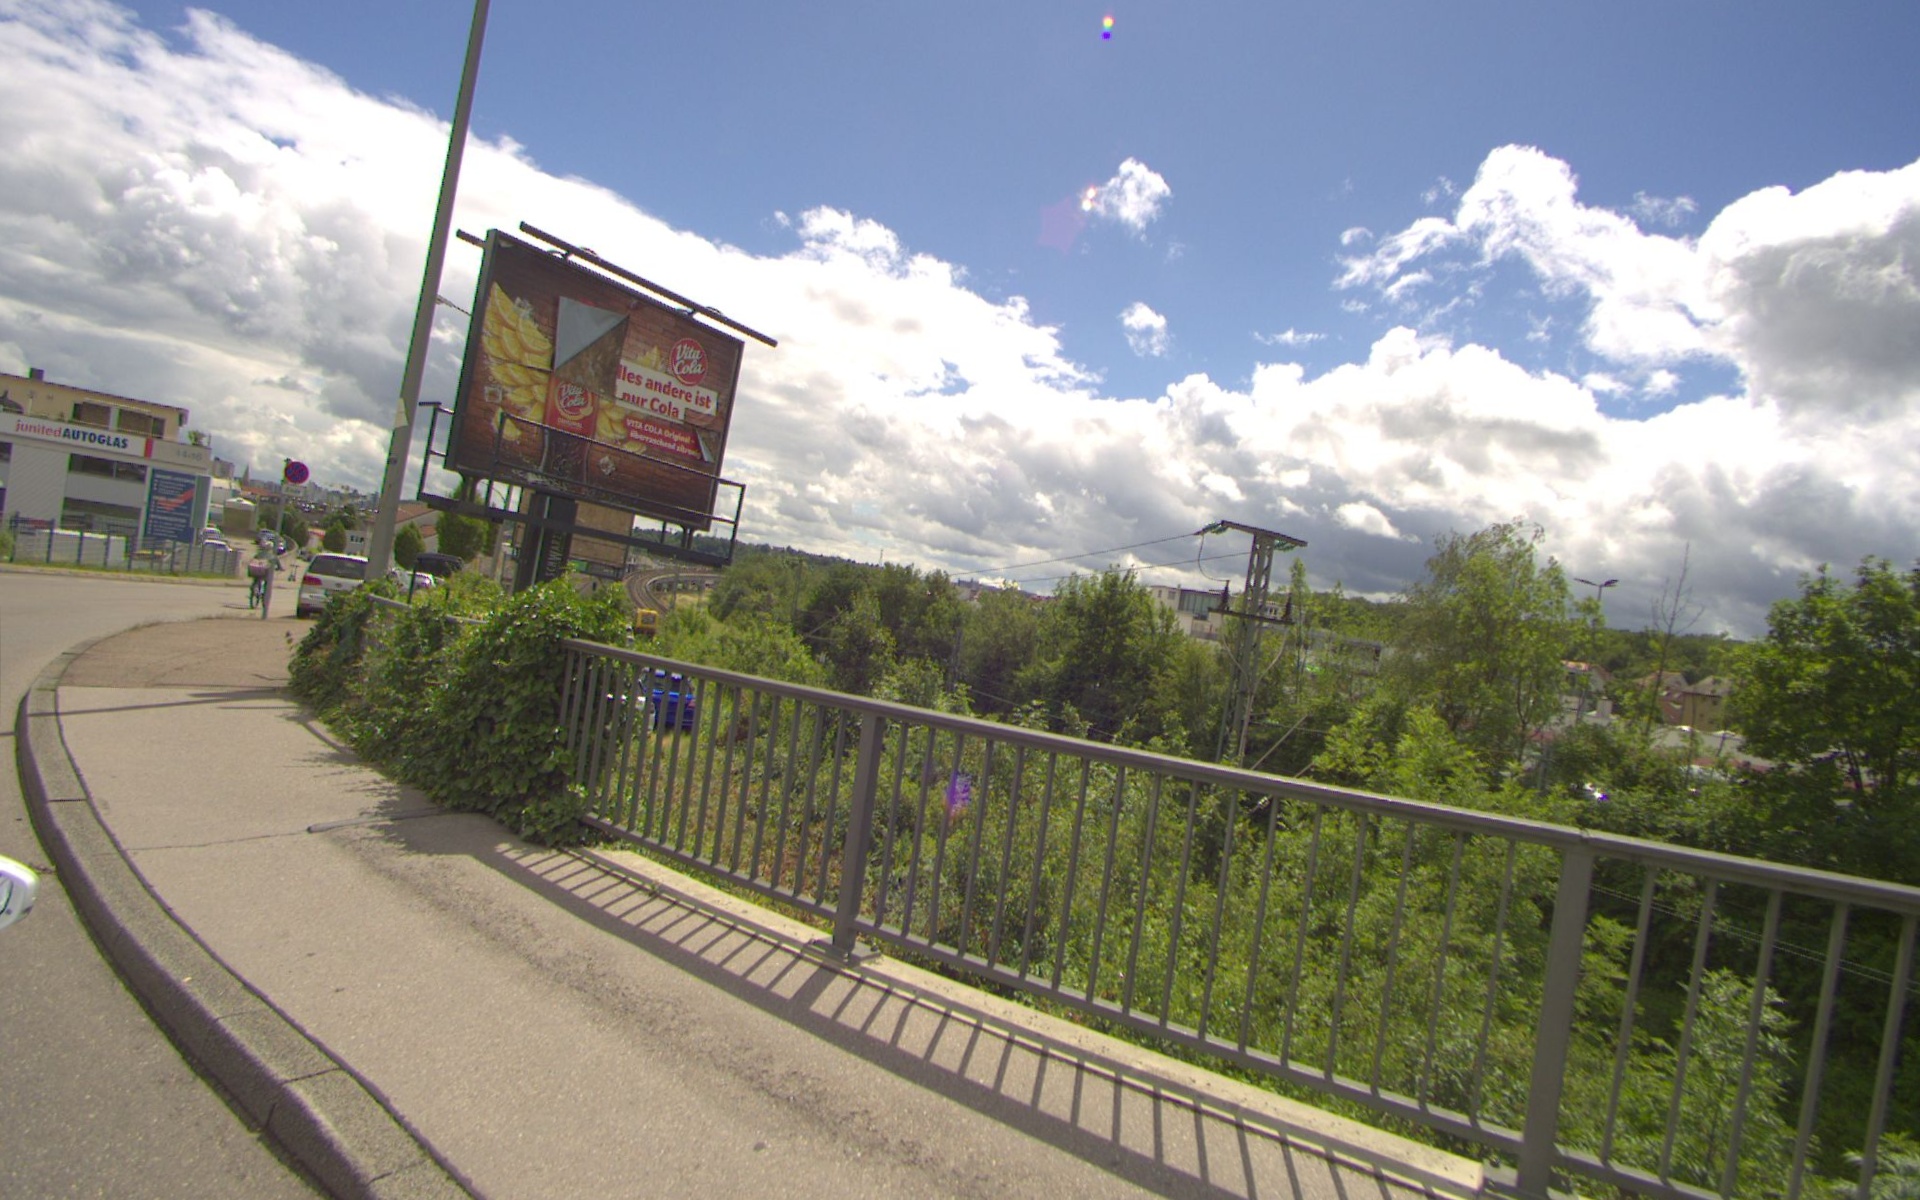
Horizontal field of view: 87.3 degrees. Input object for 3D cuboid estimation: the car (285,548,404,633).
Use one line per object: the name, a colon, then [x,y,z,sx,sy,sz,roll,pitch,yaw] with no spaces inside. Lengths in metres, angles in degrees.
car: [-15.200,-0.229,25.089,1.689,1.696,4.287,9,-3,-23]

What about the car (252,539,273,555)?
car: [-73.855,-5.600,106.455,1.661,1.339,3.683,7,-2,-36]

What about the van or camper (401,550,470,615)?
van or camper: [-24.443,-0.762,47.100,2.104,2.614,5.890,7,-3,-23]

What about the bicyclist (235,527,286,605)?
bicyclist: [-17.415,-0.828,25.085,0.677,1.847,1.075,6,-1,-22]

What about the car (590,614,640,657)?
car: [-15.758,1.583,45.784,1.689,1.527,4.507,9,-3,-23]

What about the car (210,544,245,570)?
car: [-52.700,-3.072,72.402,1.837,1.670,3.963,7,-2,-36]

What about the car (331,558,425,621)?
car: [-17.284,-0.303,30.074,1.689,1.503,4.551,9,-3,-23]

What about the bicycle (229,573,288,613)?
bicycle: [-17.500,-0.159,25.134,0.680,0.888,2.092,6,-2,-22]

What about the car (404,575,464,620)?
car: [-21.698,-0.126,41.638,1.690,1.527,3.678,9,-3,-23]

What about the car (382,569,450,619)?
car: [-19.808,-0.217,36.792,1.690,1.496,3.937,9,-3,-24]

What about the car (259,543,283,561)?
car: [-63.257,-4.381,92.441,1.660,1.338,3.687,8,-4,-34]
